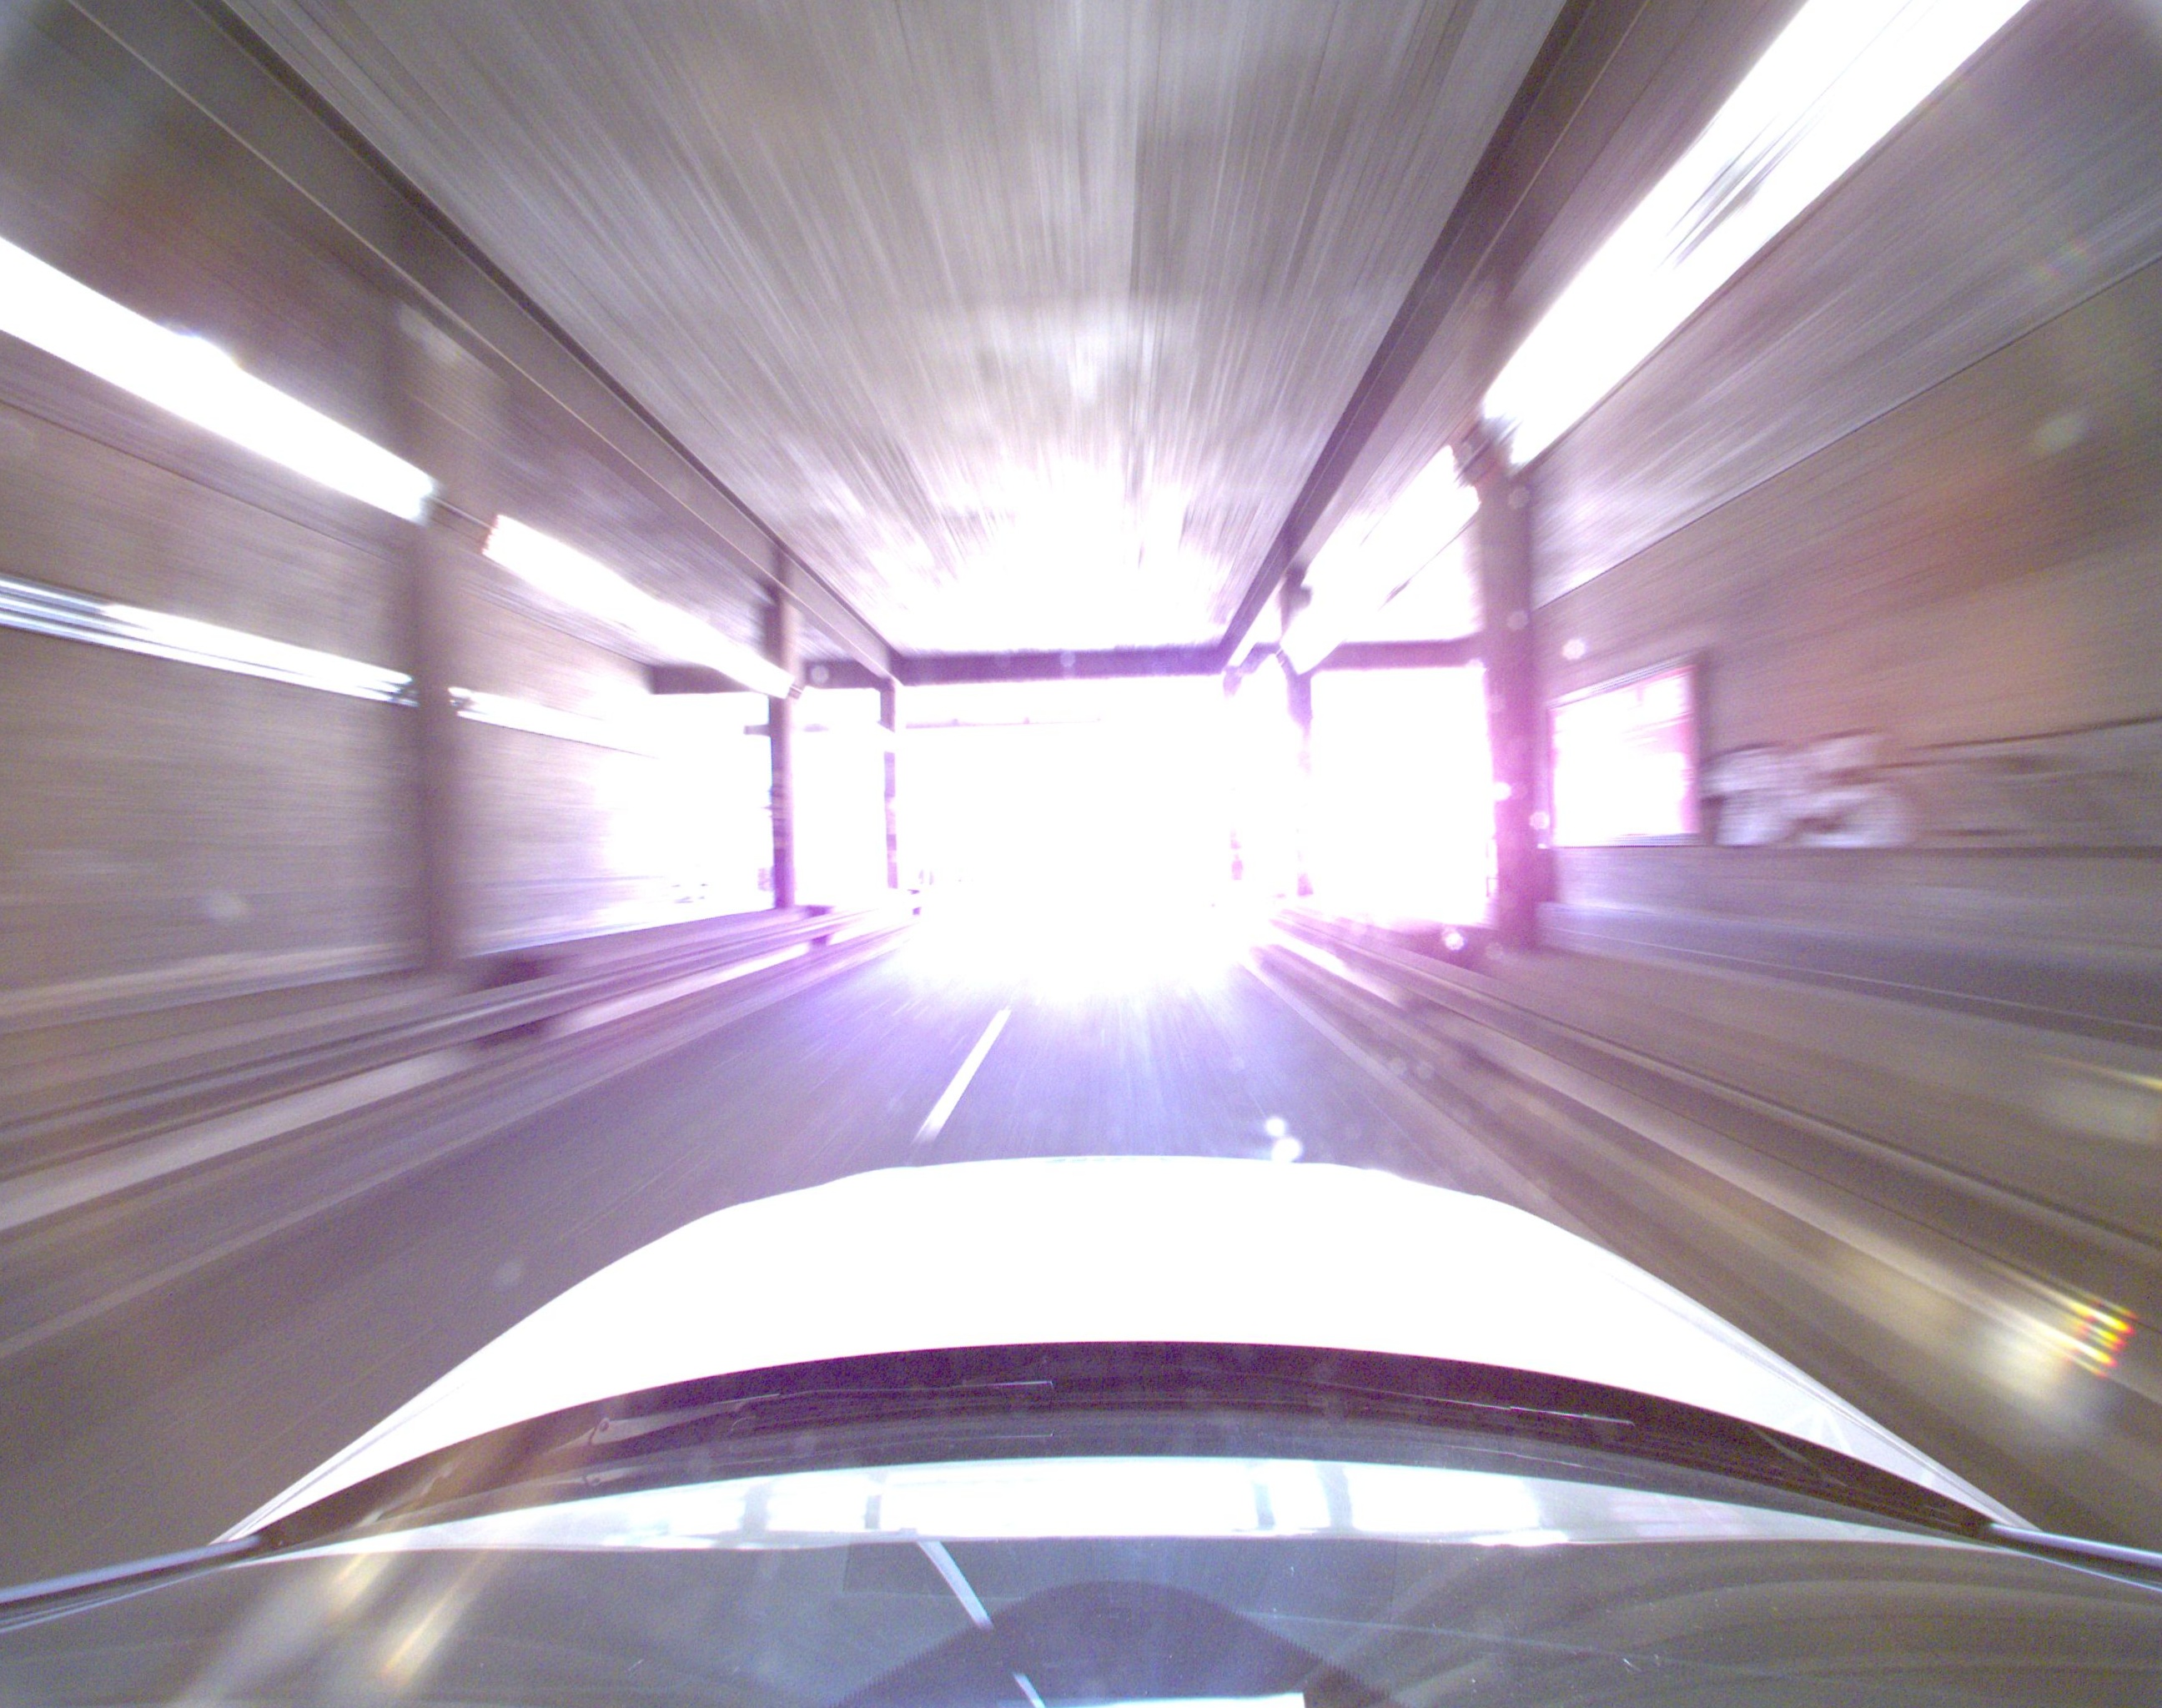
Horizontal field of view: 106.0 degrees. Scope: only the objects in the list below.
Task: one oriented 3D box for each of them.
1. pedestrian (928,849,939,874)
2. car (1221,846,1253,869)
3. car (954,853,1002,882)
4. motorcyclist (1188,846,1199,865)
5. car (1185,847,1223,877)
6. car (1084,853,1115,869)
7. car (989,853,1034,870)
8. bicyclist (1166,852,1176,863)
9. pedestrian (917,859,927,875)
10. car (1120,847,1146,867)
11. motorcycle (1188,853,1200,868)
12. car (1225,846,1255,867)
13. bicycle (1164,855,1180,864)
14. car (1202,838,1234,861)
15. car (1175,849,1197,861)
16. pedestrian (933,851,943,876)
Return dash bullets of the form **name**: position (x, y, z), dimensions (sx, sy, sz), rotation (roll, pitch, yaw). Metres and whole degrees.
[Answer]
- **pedestrian**: position (-9.577, 0.477, 52.954), dimensions (0.515, 1.640, 0.620), rotation (-1, 0, -25)
- **car**: position (10.903, 0.242, 56.724), dimensions (1.718, 1.500, 4.018), rotation (-1, 0, 16)
- **car**: position (-5.432, 0.699, 43.416), dimensions (1.744, 1.405, 4.419), rotation (-1, 0, 3)
- **motorcyclist**: position (8.716, 0.126, 62.839), dimensions (0.772, 1.423, 0.894), rotation (-2, 0, 10)
- **car**: position (6.845, 0.404, 44.898), dimensions (1.935, 1.528, 4.101), rotation (-1, 0, 10)
- **car**: position (1.770, 0.646, 75.549), dimensions (1.797, 1.391, 4.265), rotation (-1, 0, 15)
- **car**: position (-6.700, 0.694, 78.763), dimensions (3.888, 1.574, 1.914), rotation (-1, 0, -26)
- **bicyclist**: position (11.731, 0.424, 106.115), dimensions (0.925, 1.382, 1.155), rotation (-2, 0, 27)
- **pedestrian**: position (-15.815, 1.275, 80.950), dimensions (0.714, 1.563, 0.678), rotation (-2, 0, 4)
- **car**: position (3.777, 0.199, 59.536), dimensions (1.779, 1.394, 4.109), rotation (-2, 0, 3)
- **motorcycle**: position (8.741, 0.469, 62.877), dimensions (0.772, 1.082, 2.288), rotation (-2, 0, 10)
- **car**: position (12.698, 0.189, 64.846), dimensions (1.799, 1.582, 4.019), rotation (-2, 0, 19)
- **bicycle**: position (11.870, 0.667, 106.387), dimensions (0.925, 1.056, 3.374), rotation (-2, 0, 28)
- **car**: position (12.317, -0.405, 73.143), dimensions (2.155, 2.009, 4.829), rotation (-2, 0, 16)
- **car**: position (13.340, 0.103, 103.389), dimensions (1.808, 1.425, 4.349), rotation (-1, 0, 20)
- **pedestrian**: position (-9.655, 0.633, 55.090), dimensions (0.490, 1.640, 0.620), rotation (-1, 0, -25)
